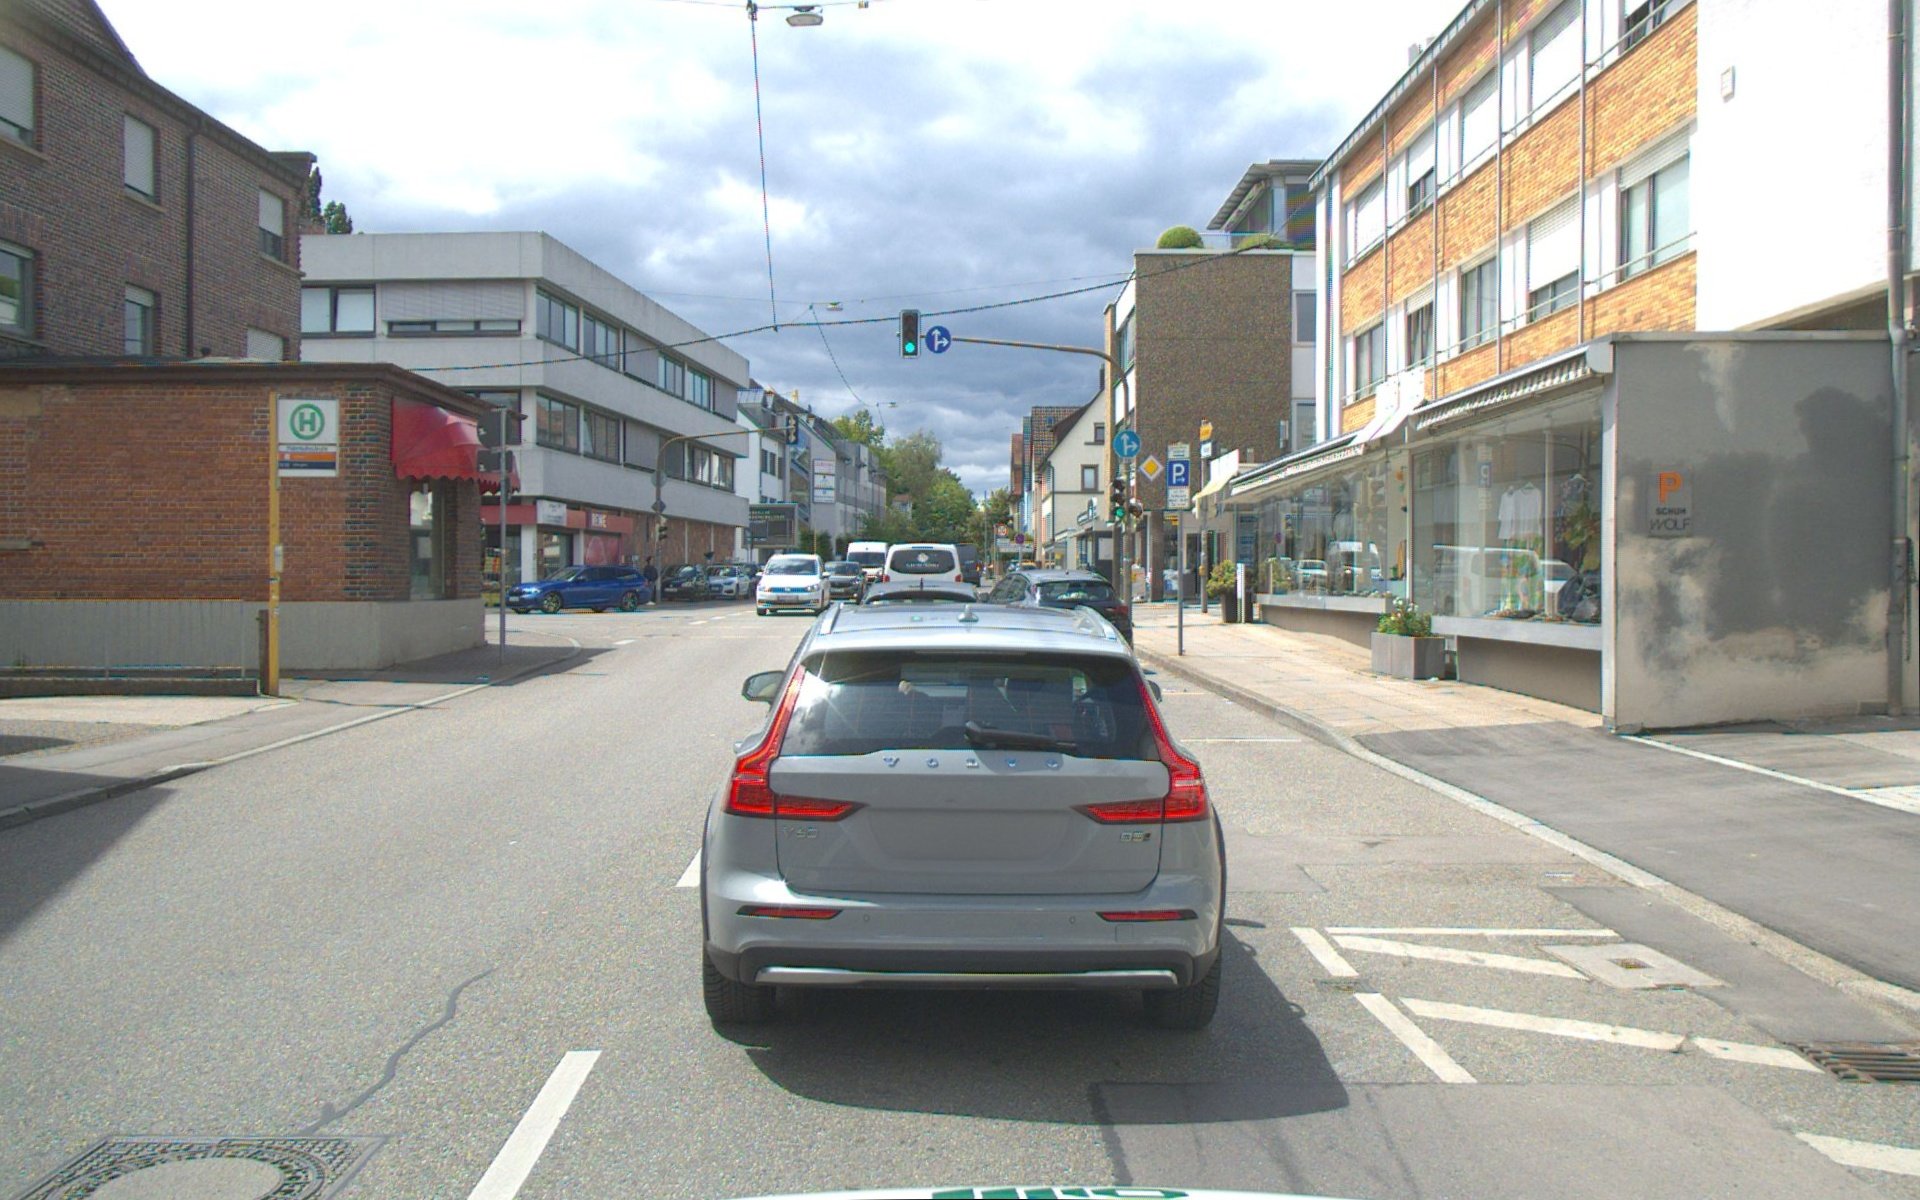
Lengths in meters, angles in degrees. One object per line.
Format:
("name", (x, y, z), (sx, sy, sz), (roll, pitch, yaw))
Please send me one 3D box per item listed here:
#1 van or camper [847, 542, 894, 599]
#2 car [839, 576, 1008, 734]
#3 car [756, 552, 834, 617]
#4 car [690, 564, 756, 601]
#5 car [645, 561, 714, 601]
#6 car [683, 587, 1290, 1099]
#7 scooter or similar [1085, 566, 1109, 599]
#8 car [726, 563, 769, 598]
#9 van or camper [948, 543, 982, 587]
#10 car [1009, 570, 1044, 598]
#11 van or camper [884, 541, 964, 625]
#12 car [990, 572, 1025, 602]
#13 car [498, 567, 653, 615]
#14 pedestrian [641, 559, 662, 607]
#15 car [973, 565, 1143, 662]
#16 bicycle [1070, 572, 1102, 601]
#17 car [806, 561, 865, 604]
("van or camper", (-4.204, -1.433, 78.198), (2.105, 2.600, 5.436), (-1, 2, -2))
("car", (-0.376, 0.512, 17.741), (1.617, 1.508, 3.607), (1, 1, -1))
("car", (-4.502, -0.471, 45.549), (1.739, 1.640, 4.120), (-1, 2, -1))
("car", (-10.107, -0.771, 70.855), (1.864, 1.468, 4.446), (1, 1, 4))
("car", (-10.964, -0.748, 64.837), (1.747, 1.490, 4.089), (1, 1, 3))
("car", (0.053, 0.714, 6.904), (1.798, 1.512, 3.999), (0, 0, -1))
("scooter or similar", (5.473, -0.687, 66.237), (0.336, 1.275, 1.235), (-3, 0, -26))
("car", (-9.847, -0.926, 76.756), (1.574, 1.570, 2.945), (2, 1, 0))
("van or camper", (0.340, -2.242, 106.093), (2.080, 2.733, 4.782), (-1, 1, 0))
("car", (3.777, -0.884, 94.463), (1.676, 1.490, 3.998), (1, 0, -2))
("van or camper", (-0.839, -0.380, 39.089), (1.782, 1.867, 3.999), (0, 0, -1))
("car", (2.090, -0.565, 73.927), (1.409, 1.310, 3.247), (0, 0, -1))
("car", (-11.722, -0.307, 50.673), (1.963, 1.361, 4.333), (0, 1, 41))
("pedestrian", (-10.805, -0.605, 57.962), (0.606, 1.670, 0.660), (-1, 1, 1))
("car", (1.439, 0.179, 25.596), (1.775, 1.370, 3.708), (0, 0, -11))
("bicycle", (5.289, -0.580, 69.534), (0.546, 1.164, 2.288), (-1, 1, -18))
("car", (-4.594, -0.635, 61.451), (1.753, 1.537, 3.846), (0, 0, 2))
